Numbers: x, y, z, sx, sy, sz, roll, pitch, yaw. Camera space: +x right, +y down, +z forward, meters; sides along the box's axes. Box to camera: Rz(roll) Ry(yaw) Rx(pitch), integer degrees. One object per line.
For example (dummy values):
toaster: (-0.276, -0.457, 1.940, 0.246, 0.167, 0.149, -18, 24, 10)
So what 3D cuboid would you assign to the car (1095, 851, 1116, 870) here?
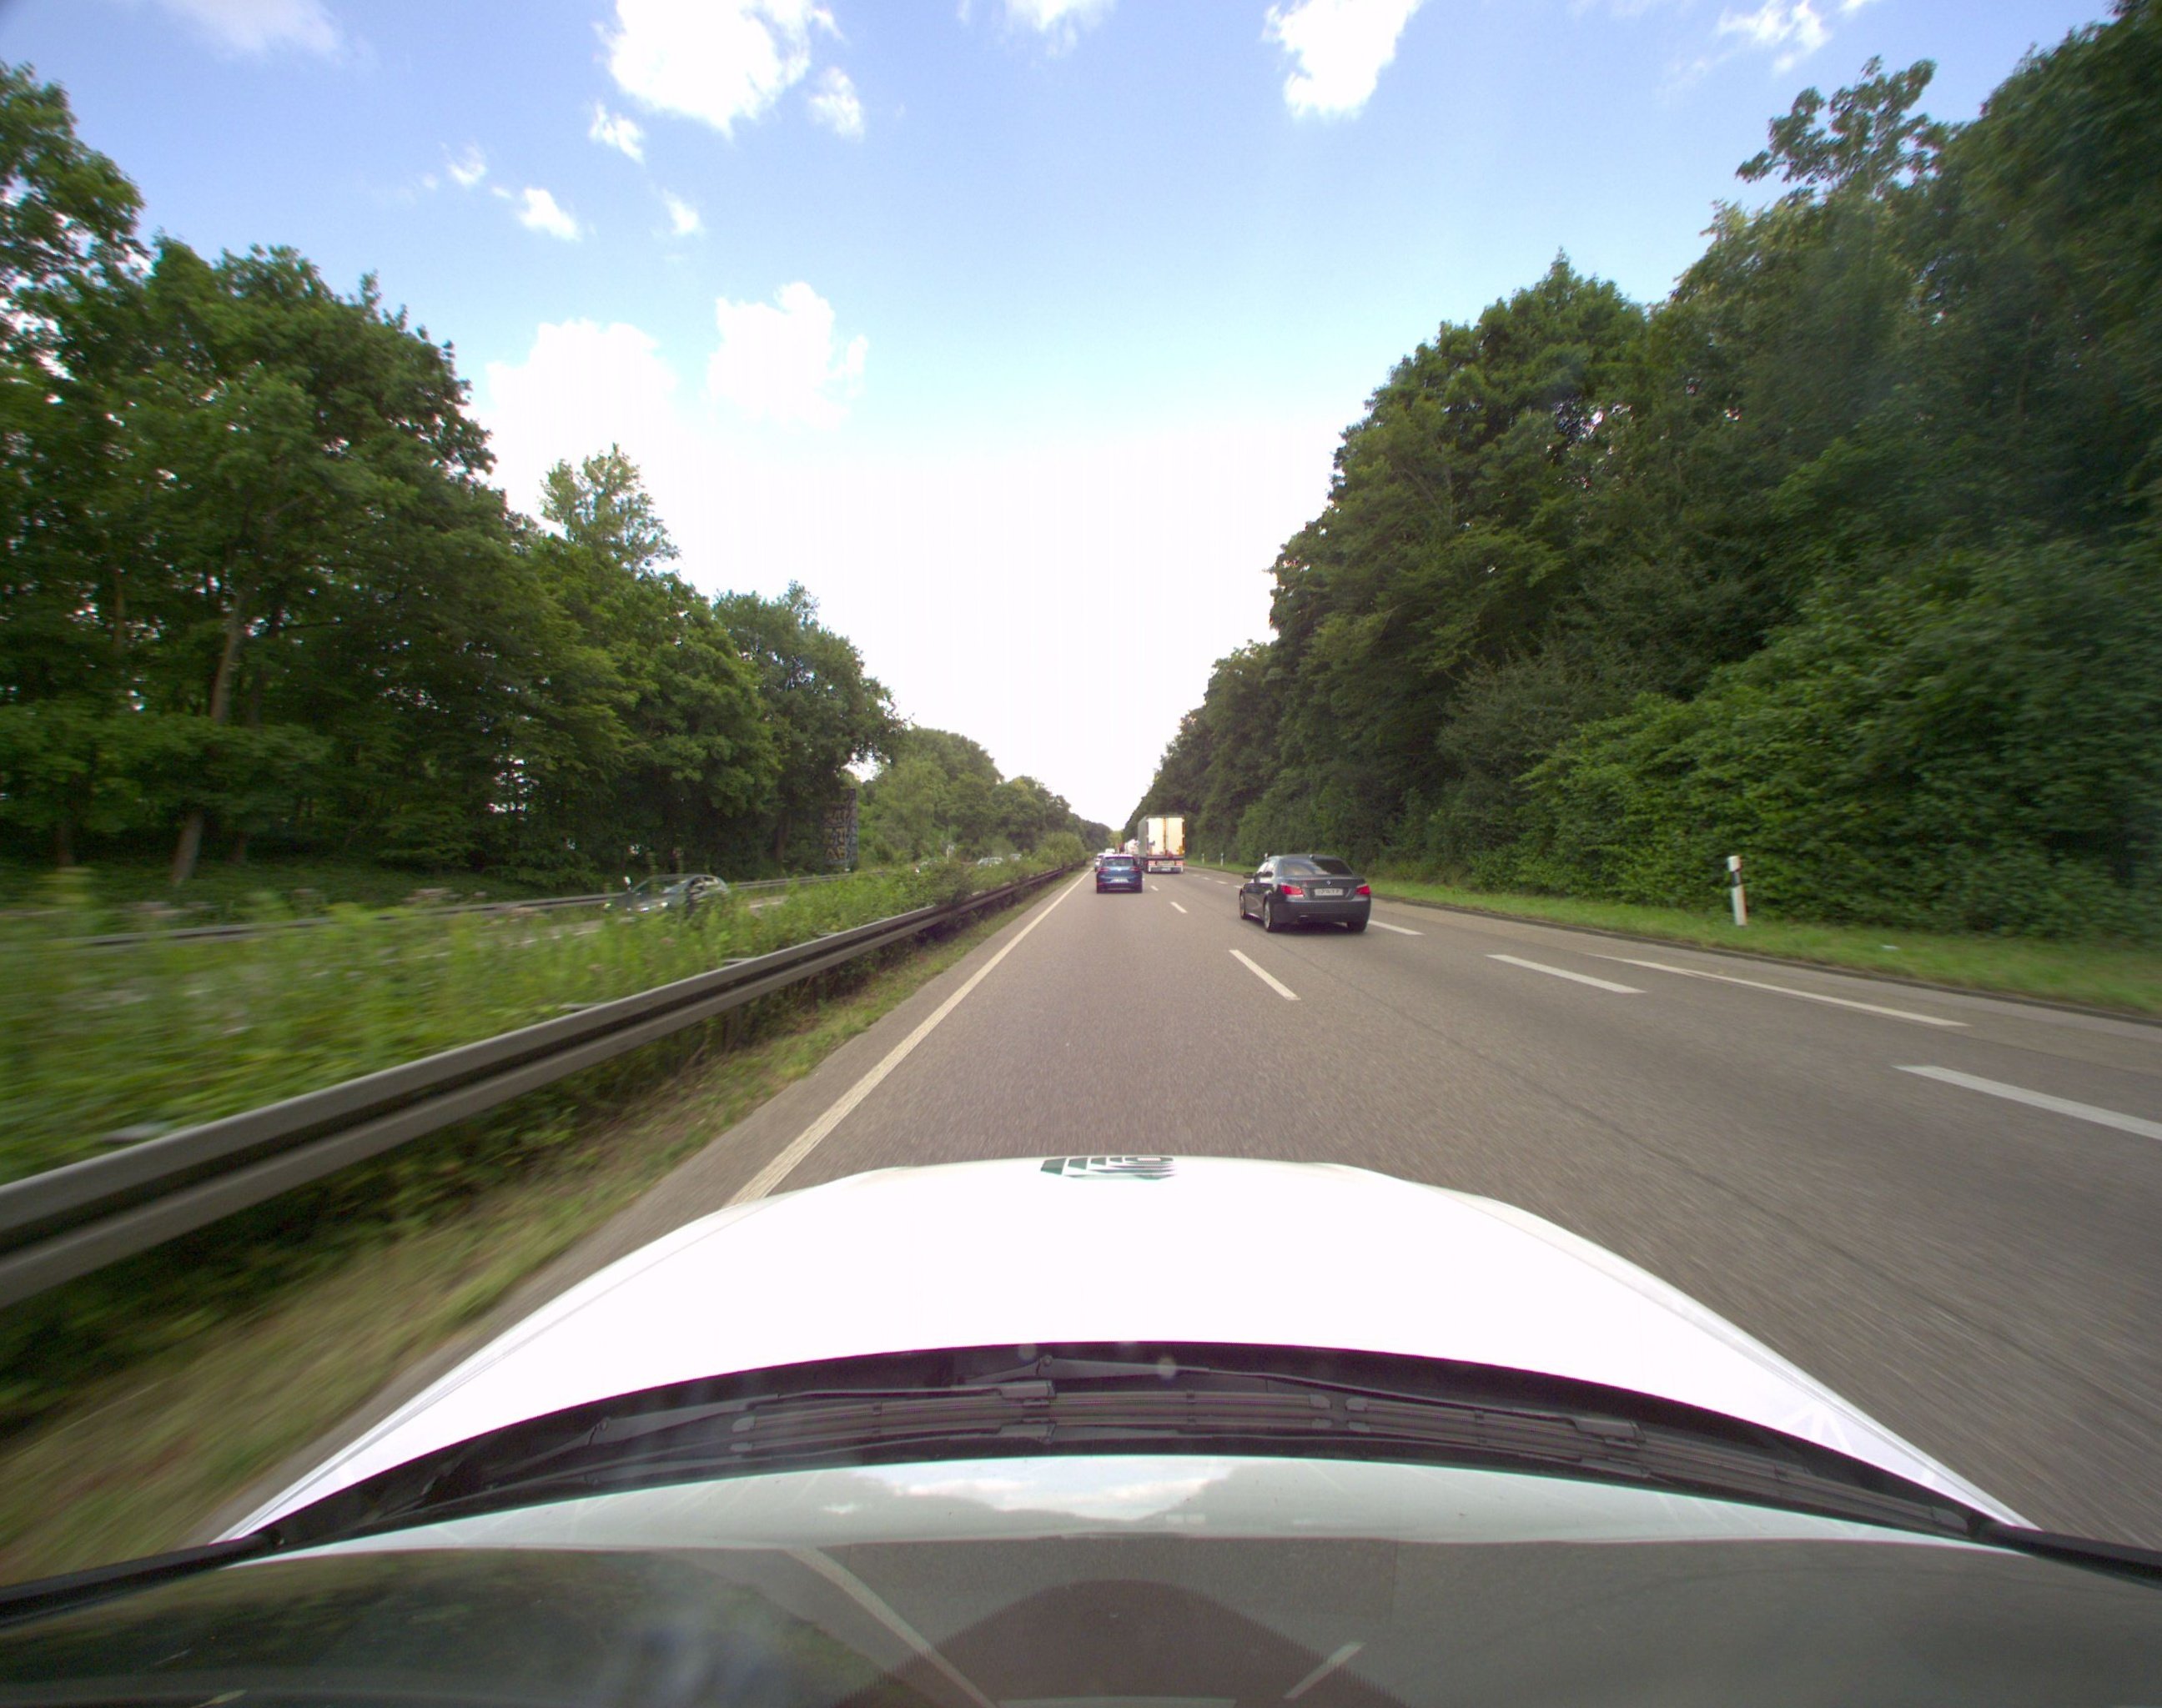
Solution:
car: (2.004, 0.482, 66.177, 1.659, 1.500, 4.154, -1, 0, 2)

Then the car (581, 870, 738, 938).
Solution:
car: (-11.156, 1.255, 21.959, 1.728, 1.473, 4.472, -2, 0, 2)

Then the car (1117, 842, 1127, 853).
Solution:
car: (9.719, -1.556, 192.538, 1.987, 2.327, 4.441, -2, 0, -1)

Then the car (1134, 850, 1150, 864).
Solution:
car: (7.797, 0.415, 104.284, 1.881, 1.729, 4.002, -2, 0, 2)

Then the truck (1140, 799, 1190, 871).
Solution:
truck: (6.067, -1.303, 60.172, 3.227, 4.716, 11.020, -2, 0, 4)

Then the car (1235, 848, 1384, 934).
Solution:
car: (4.390, 0.633, 16.461, 1.768, 1.475, 4.882, 0, 0, 2)

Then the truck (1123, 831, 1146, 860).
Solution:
truck: (8.425, -1.284, 130.169, 3.220, 4.386, 12.976, -1, 0, 2)

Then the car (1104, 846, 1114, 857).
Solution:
car: (6.013, -0.614, 175.370, 1.987, 2.255, 4.441, -2, 0, -1)

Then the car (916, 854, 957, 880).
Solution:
car: (-9.844, 0.833, 55.754, 1.821, 1.661, 4.597, 0, 0, 2)

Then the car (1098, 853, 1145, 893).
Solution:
car: (1.517, 0.684, 31.715, 1.699, 1.470, 4.001, 0, 0, 1)
